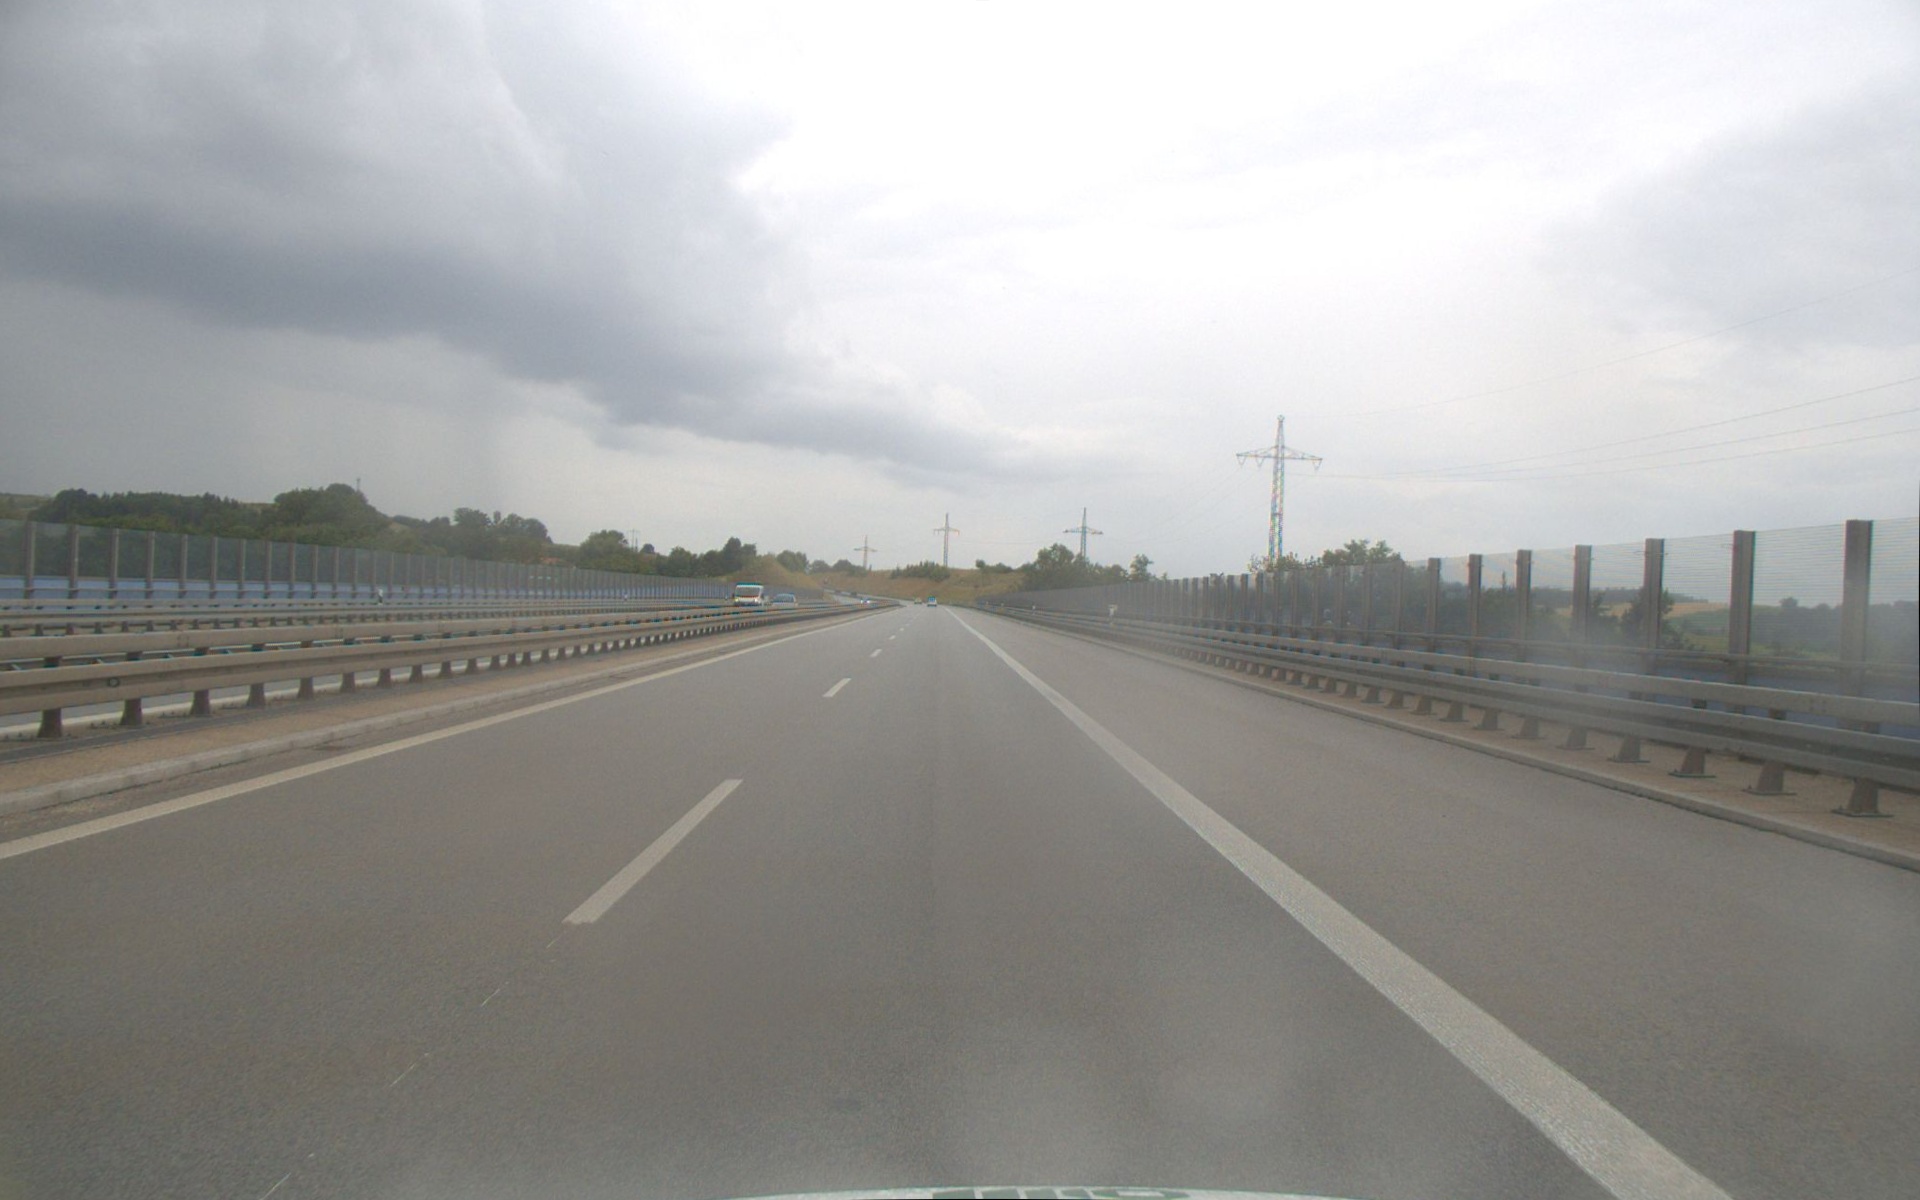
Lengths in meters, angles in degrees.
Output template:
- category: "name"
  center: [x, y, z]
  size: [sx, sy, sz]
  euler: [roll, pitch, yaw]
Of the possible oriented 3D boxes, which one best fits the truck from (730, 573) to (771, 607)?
- category: "truck"
  center: [-15.813, -0.720, 125.246]
  size: [2.226, 2.474, 7.450]
  euler: [1, 0, -1]
